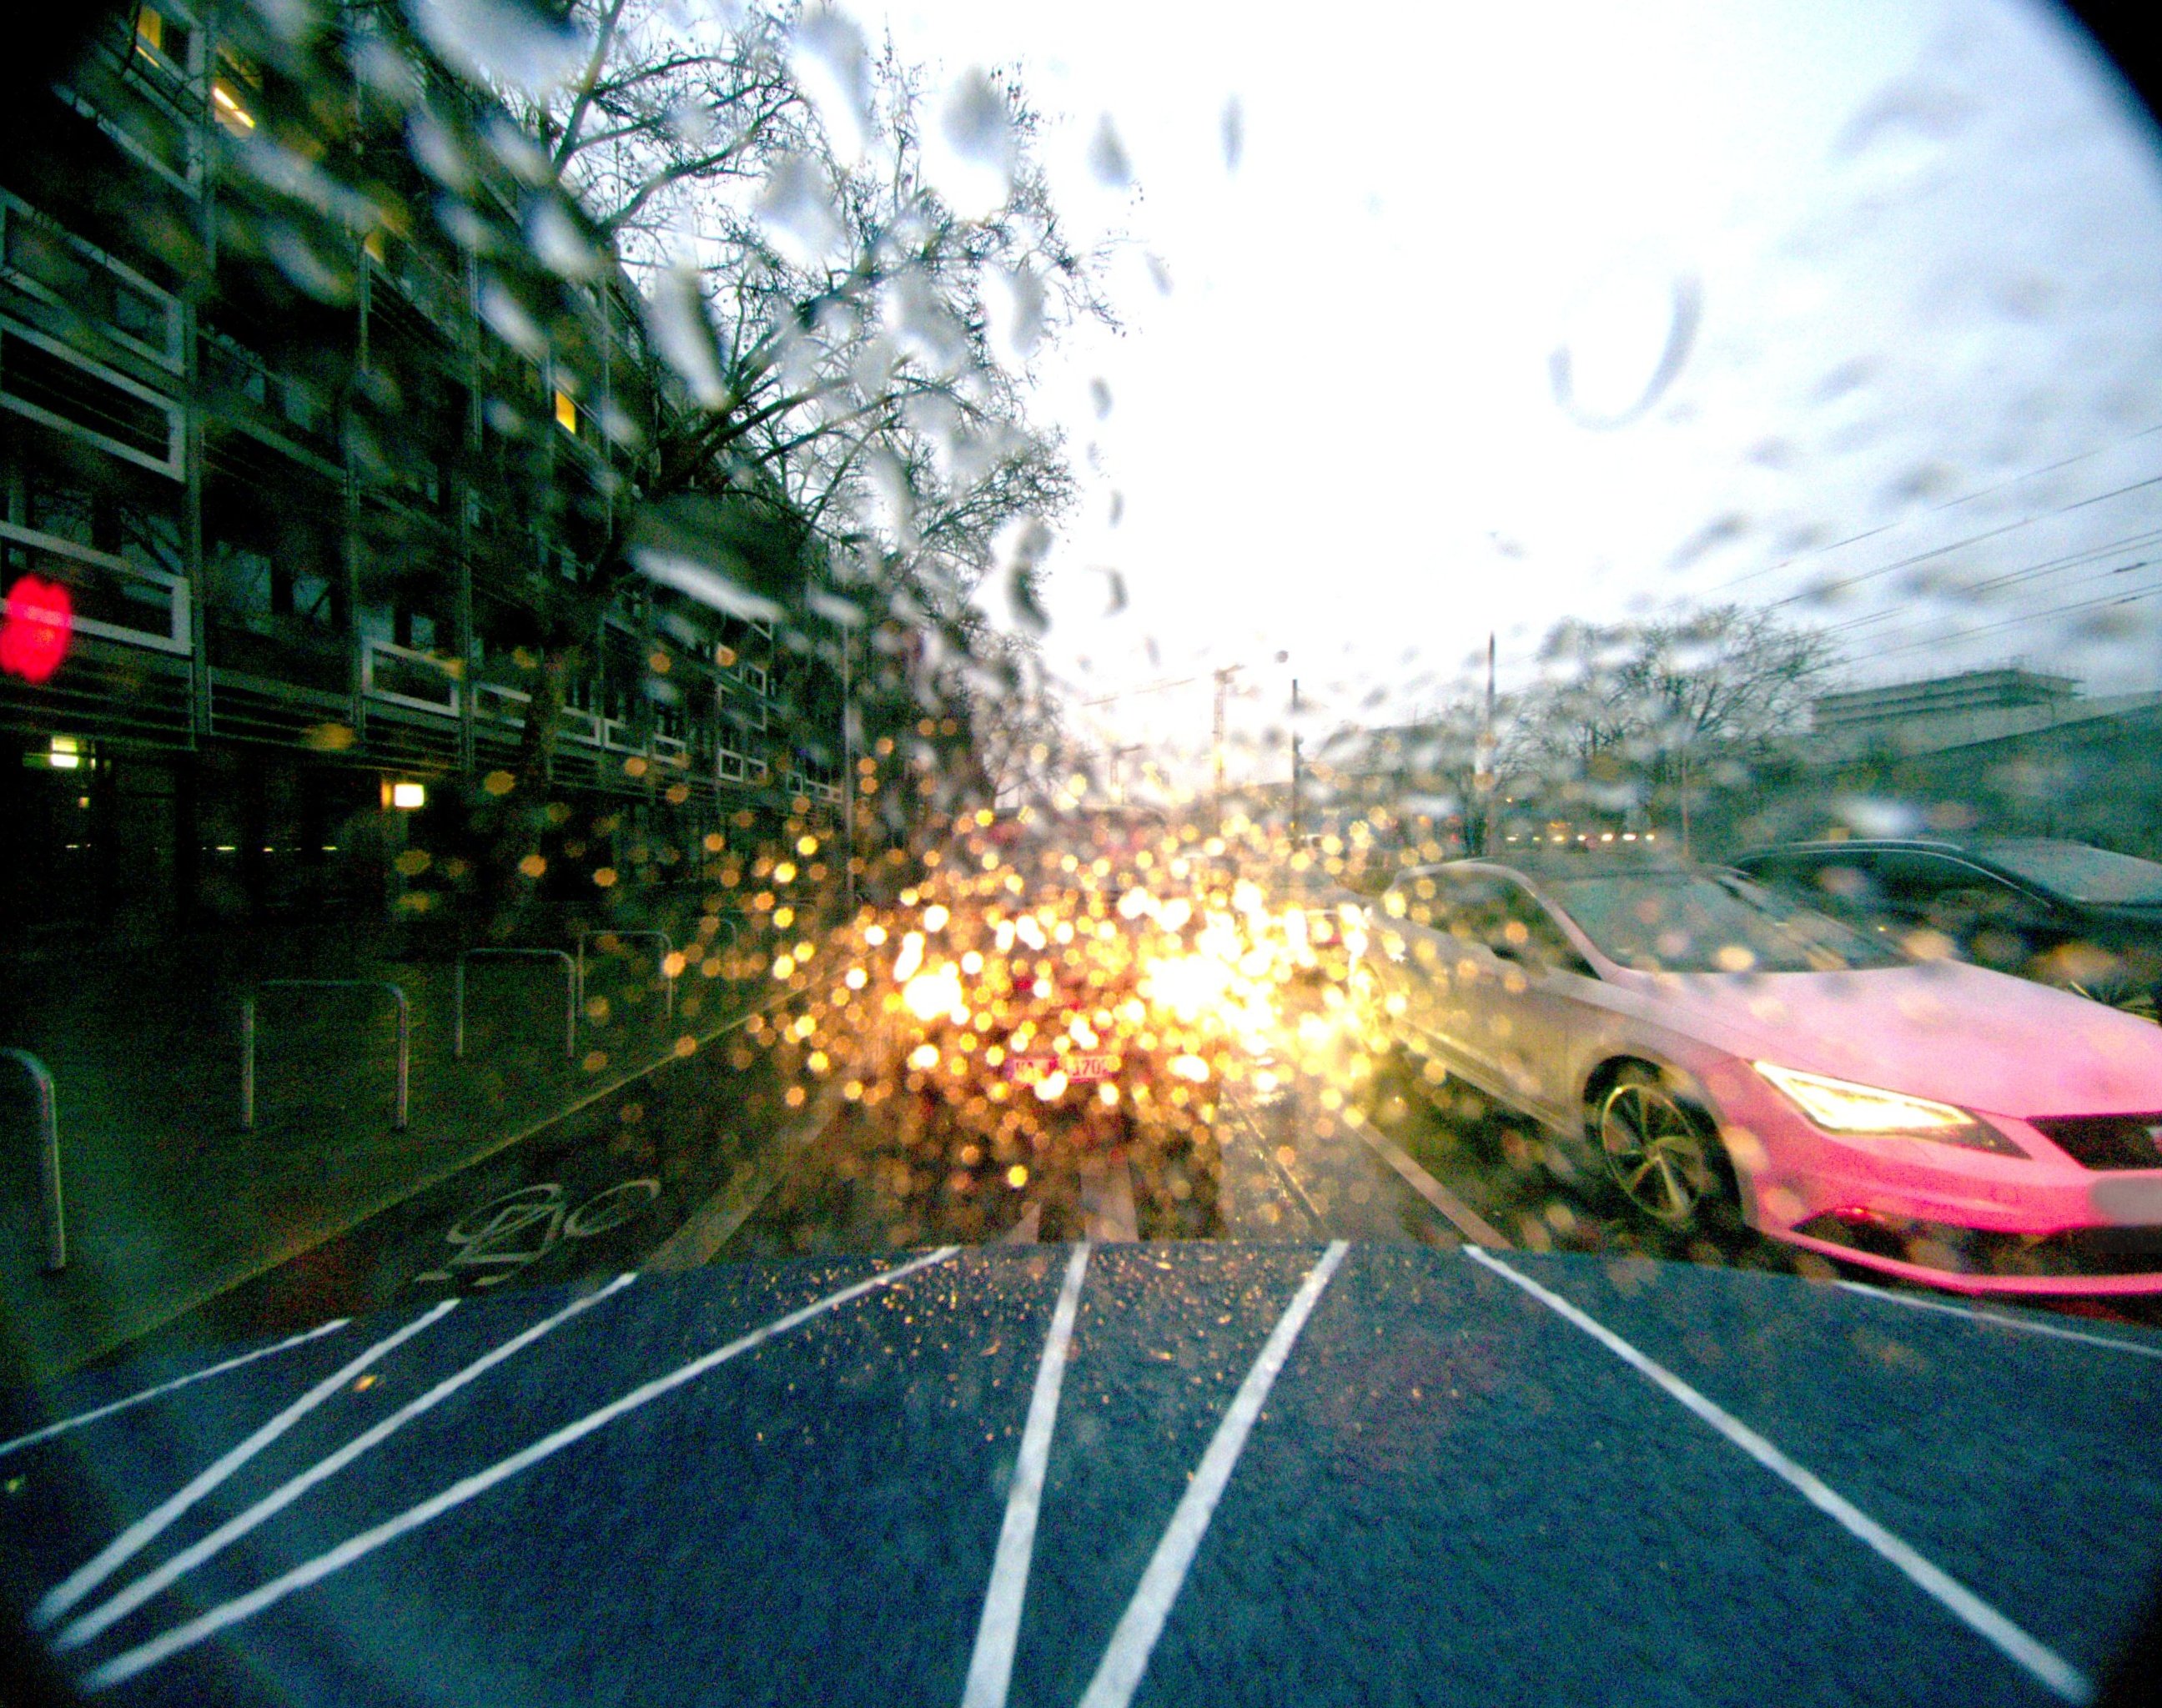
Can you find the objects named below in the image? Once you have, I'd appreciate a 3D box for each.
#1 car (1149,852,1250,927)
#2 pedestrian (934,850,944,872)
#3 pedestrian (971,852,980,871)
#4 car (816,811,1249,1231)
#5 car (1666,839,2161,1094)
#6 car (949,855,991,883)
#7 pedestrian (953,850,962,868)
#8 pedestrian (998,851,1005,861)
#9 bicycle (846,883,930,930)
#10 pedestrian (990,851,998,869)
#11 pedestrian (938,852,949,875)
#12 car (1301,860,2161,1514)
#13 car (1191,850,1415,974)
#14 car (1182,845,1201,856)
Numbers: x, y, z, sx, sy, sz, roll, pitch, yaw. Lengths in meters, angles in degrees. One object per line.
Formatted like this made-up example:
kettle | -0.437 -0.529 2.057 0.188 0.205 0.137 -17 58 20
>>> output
car | 2.846 0.793 19.086 1.907 1.565 3.999 -2 1 1
pedestrian | -12.862 0.595 68.843 0.699 1.968 0.928 0 1 1
pedestrian | -9.965 0.673 71.796 0.766 1.740 0.928 0 1 -4
car | -0.215 0.735 5.423 1.878 1.830 3.999 -2 1 0
car | 7.353 0.649 5.987 1.853 1.499 4.662 -1 1 -1
car | -6.278 0.810 43.338 1.713 1.455 3.999 -2 1 1
pedestrian | -12.287 0.461 75.421 0.766 1.740 0.928 0 1 -4
pedestrian | -10.291 0.236 98.261 0.782 1.330 0.751 -2 1 1
bicycle | -4.460 1.203 17.643 1.704 0.987 0.879 1 1 0
pedestrian | -8.578 0.583 75.001 0.766 1.740 0.928 0 1 -4
pedestrian | -10.522 0.717 58.165 0.766 1.740 0.928 0 1 -4
car | 2.981 0.837 4.171 1.949 1.478 4.504 -2 0 -4
car | 3.043 0.698 11.528 1.999 1.478 4.504 -1 0 -1
car | 18.664 -0.609 128.390 2.095 1.884 3.997 -1 1 -7
